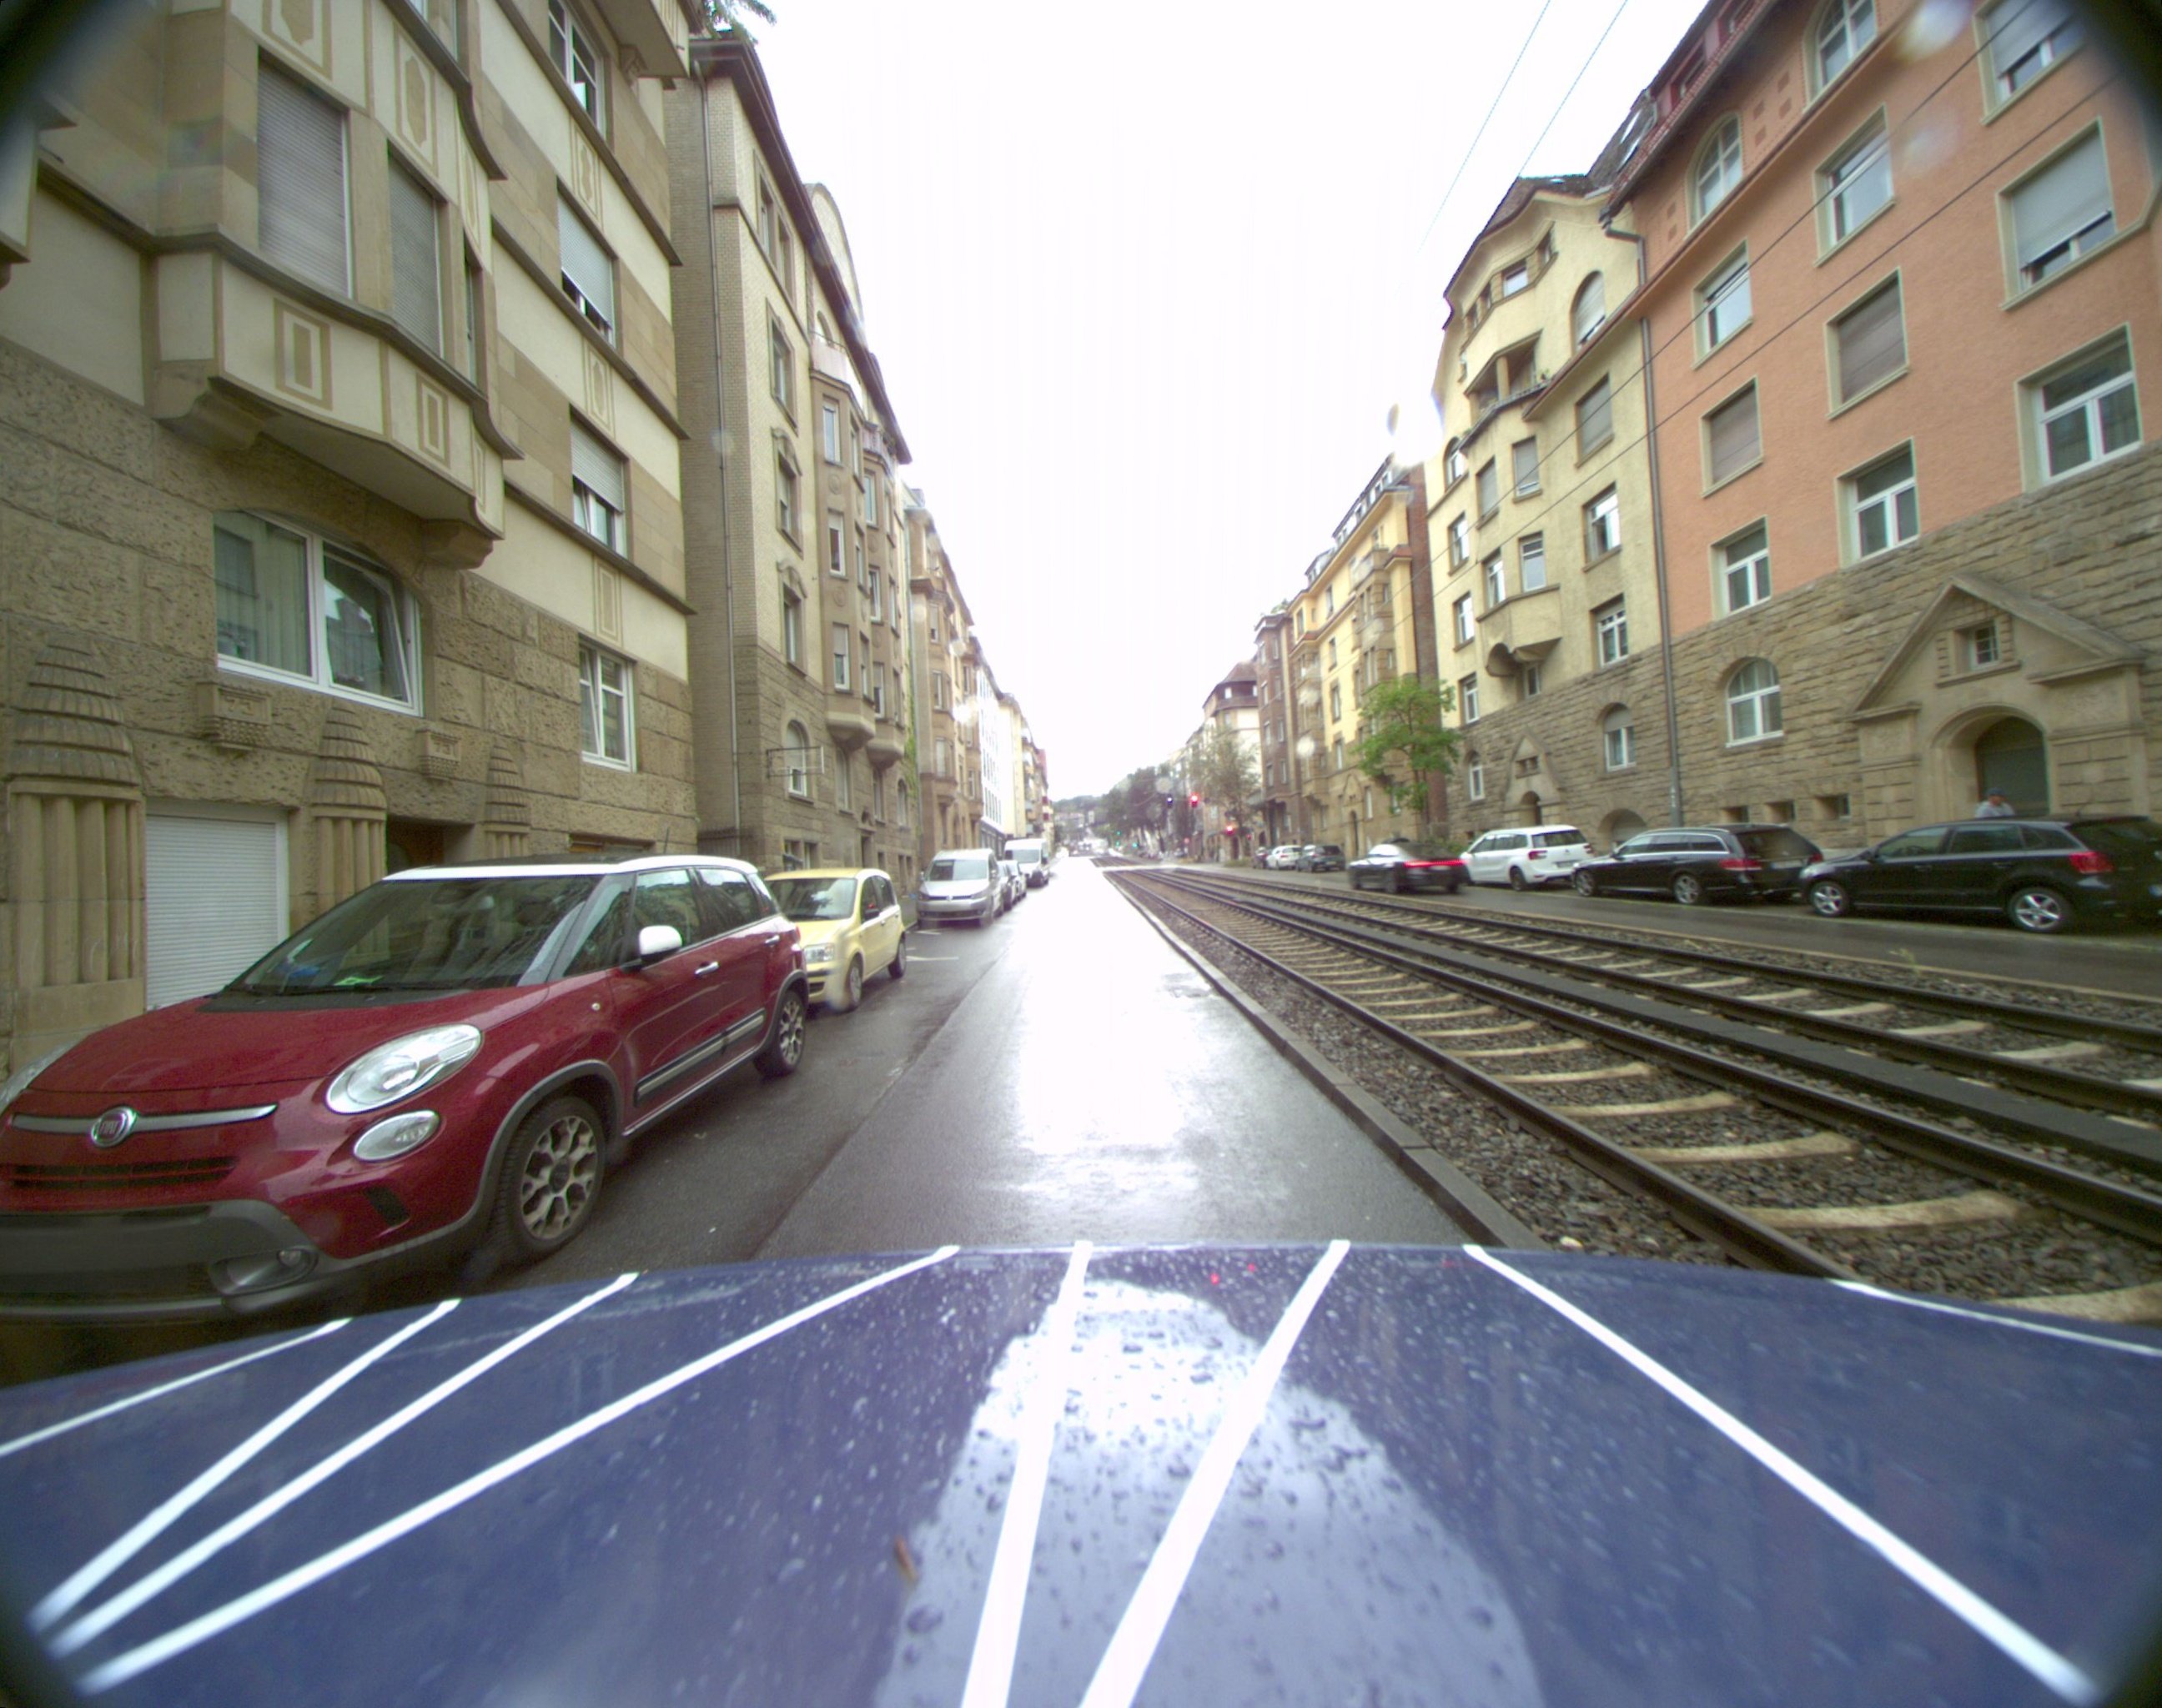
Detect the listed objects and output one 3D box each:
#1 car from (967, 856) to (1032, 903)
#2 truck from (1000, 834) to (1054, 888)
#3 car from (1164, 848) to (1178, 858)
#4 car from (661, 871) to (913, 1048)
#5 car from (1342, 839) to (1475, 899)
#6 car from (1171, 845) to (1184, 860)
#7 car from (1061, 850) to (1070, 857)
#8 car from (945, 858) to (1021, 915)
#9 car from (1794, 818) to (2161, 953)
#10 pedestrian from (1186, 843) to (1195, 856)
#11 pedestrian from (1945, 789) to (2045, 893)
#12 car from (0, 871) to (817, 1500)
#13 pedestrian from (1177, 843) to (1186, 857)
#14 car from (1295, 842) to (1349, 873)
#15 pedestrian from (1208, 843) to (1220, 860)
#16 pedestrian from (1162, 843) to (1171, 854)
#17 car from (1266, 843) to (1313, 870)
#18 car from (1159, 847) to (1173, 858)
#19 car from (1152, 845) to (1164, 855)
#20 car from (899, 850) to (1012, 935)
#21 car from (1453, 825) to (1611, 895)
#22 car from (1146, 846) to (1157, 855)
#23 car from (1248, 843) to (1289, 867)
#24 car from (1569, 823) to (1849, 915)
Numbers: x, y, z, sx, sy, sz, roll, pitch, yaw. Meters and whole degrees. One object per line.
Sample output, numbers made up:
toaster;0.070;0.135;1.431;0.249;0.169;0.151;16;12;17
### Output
car;-2.956;0.882;28.303;1.891;1.521;3.929;-3;0;1
truck;-2.727;0.343;39.932;2.235;2.521;6.143;-3;0;1
car;12.567;-0.086;106.370;1.583;1.303;3.845;-3;0;1
car;-3.192;1.041;9.027;1.580;1.520;3.578;-3;0;-1
car;9.451;0.388;22.438;1.807;1.514;4.964;-2;0;1
car;12.666;-0.231;99.532;1.583;1.669;3.790;-3;2;7
car;-3.880;-0.134;194.622;1.998;1.838;4.000;-3;0;1
car;-2.967;0.940;23.802;1.999;1.521;3.999;-3;0;-3
car;12.526;0.323;10.454;1.935;1.488;3.641;-2;1;-2
pedestrian;16.217;-0.641;112.555;1.056;1.946;1.163;-3;1;2
pedestrian;14.977;-0.216;12.469;0.701;1.633;0.765;-2;1;1
car;-3.035;0.978;4.079;1.807;1.590;3.999;-3;0;-1
pedestrian;14.907;-0.591;112.553;1.056;1.946;1.163;-3;1;2
car;12.500;0.138;39.601;1.678;1.433;3.845;-4;1;3
pedestrian;15.193;-0.286;86.784;1.056;1.946;1.163;-3;1;2
pedestrian;15.804;-1.033;140.324;1.380;1.946;1.379;-3;1;2
car;12.468;0.127;45.640;1.771;1.433;4.031;-3;0;2
car;12.862;-0.274;115.353;1.771;1.507;3.845;-3;0;1
car;12.831;-0.631;126.823;1.657;1.589;3.775;-3;0;1
car;-3.013;0.849;19.186;1.968;1.792;4.459;-3;0;1
car;12.270;0.143;21.034;1.867;1.646;4.146;-3;0;1
car;12.427;-0.630;133.691;1.632;1.537;3.801;-3;0;1
car;12.478;0.074;50.735;1.771;1.433;3.845;-3;0;1
car;12.289;0.255;15.371;1.847;1.486;4.601;-3;0;1
